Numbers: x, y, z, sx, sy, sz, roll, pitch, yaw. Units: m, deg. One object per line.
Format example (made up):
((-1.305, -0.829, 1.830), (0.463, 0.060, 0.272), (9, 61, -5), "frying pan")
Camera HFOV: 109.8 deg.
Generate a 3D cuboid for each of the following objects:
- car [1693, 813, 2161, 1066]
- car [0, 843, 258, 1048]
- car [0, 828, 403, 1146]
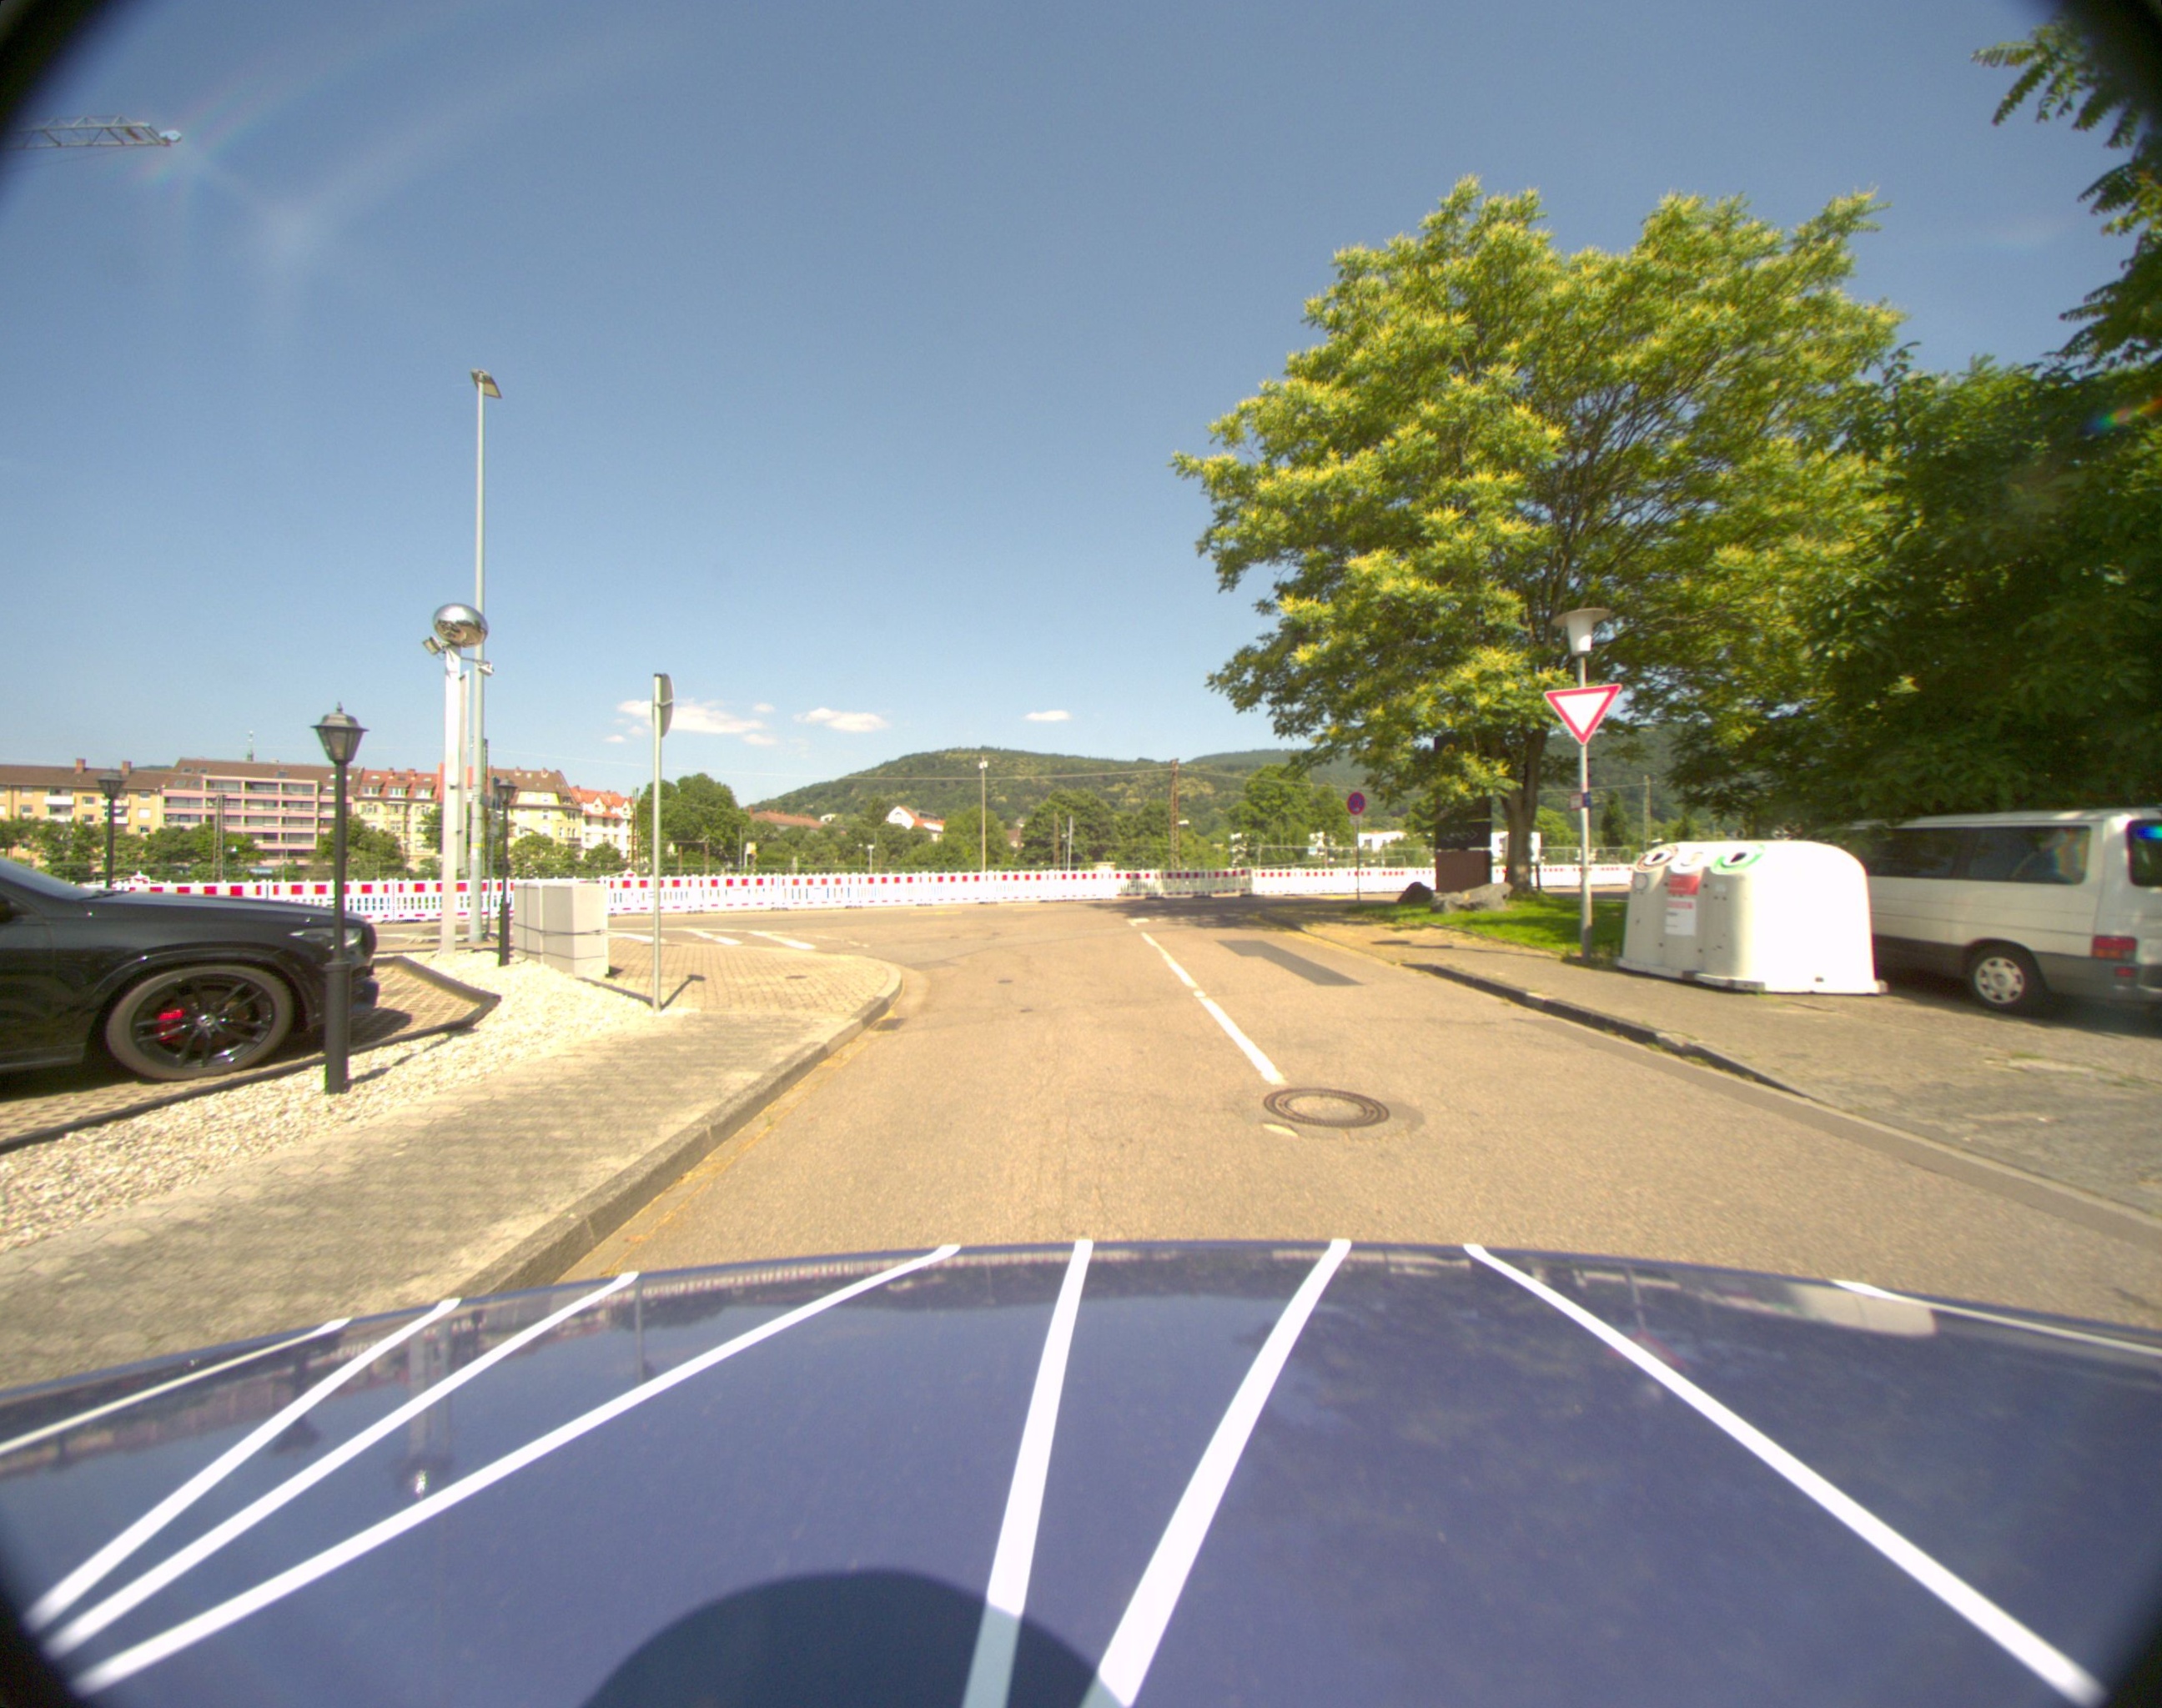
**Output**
((9.415, 0.608, 8.164), (1.997, 1.920, 5.102), (2, 2, 8), "car")
((-10.164, 0.755, 5.827), (2.012, 1.682, 4.826), (0, 0, 26), "car")
((-7.262, 0.750, 4.291), (2.011, 1.769, 4.828), (0, 0, 39), "car")
